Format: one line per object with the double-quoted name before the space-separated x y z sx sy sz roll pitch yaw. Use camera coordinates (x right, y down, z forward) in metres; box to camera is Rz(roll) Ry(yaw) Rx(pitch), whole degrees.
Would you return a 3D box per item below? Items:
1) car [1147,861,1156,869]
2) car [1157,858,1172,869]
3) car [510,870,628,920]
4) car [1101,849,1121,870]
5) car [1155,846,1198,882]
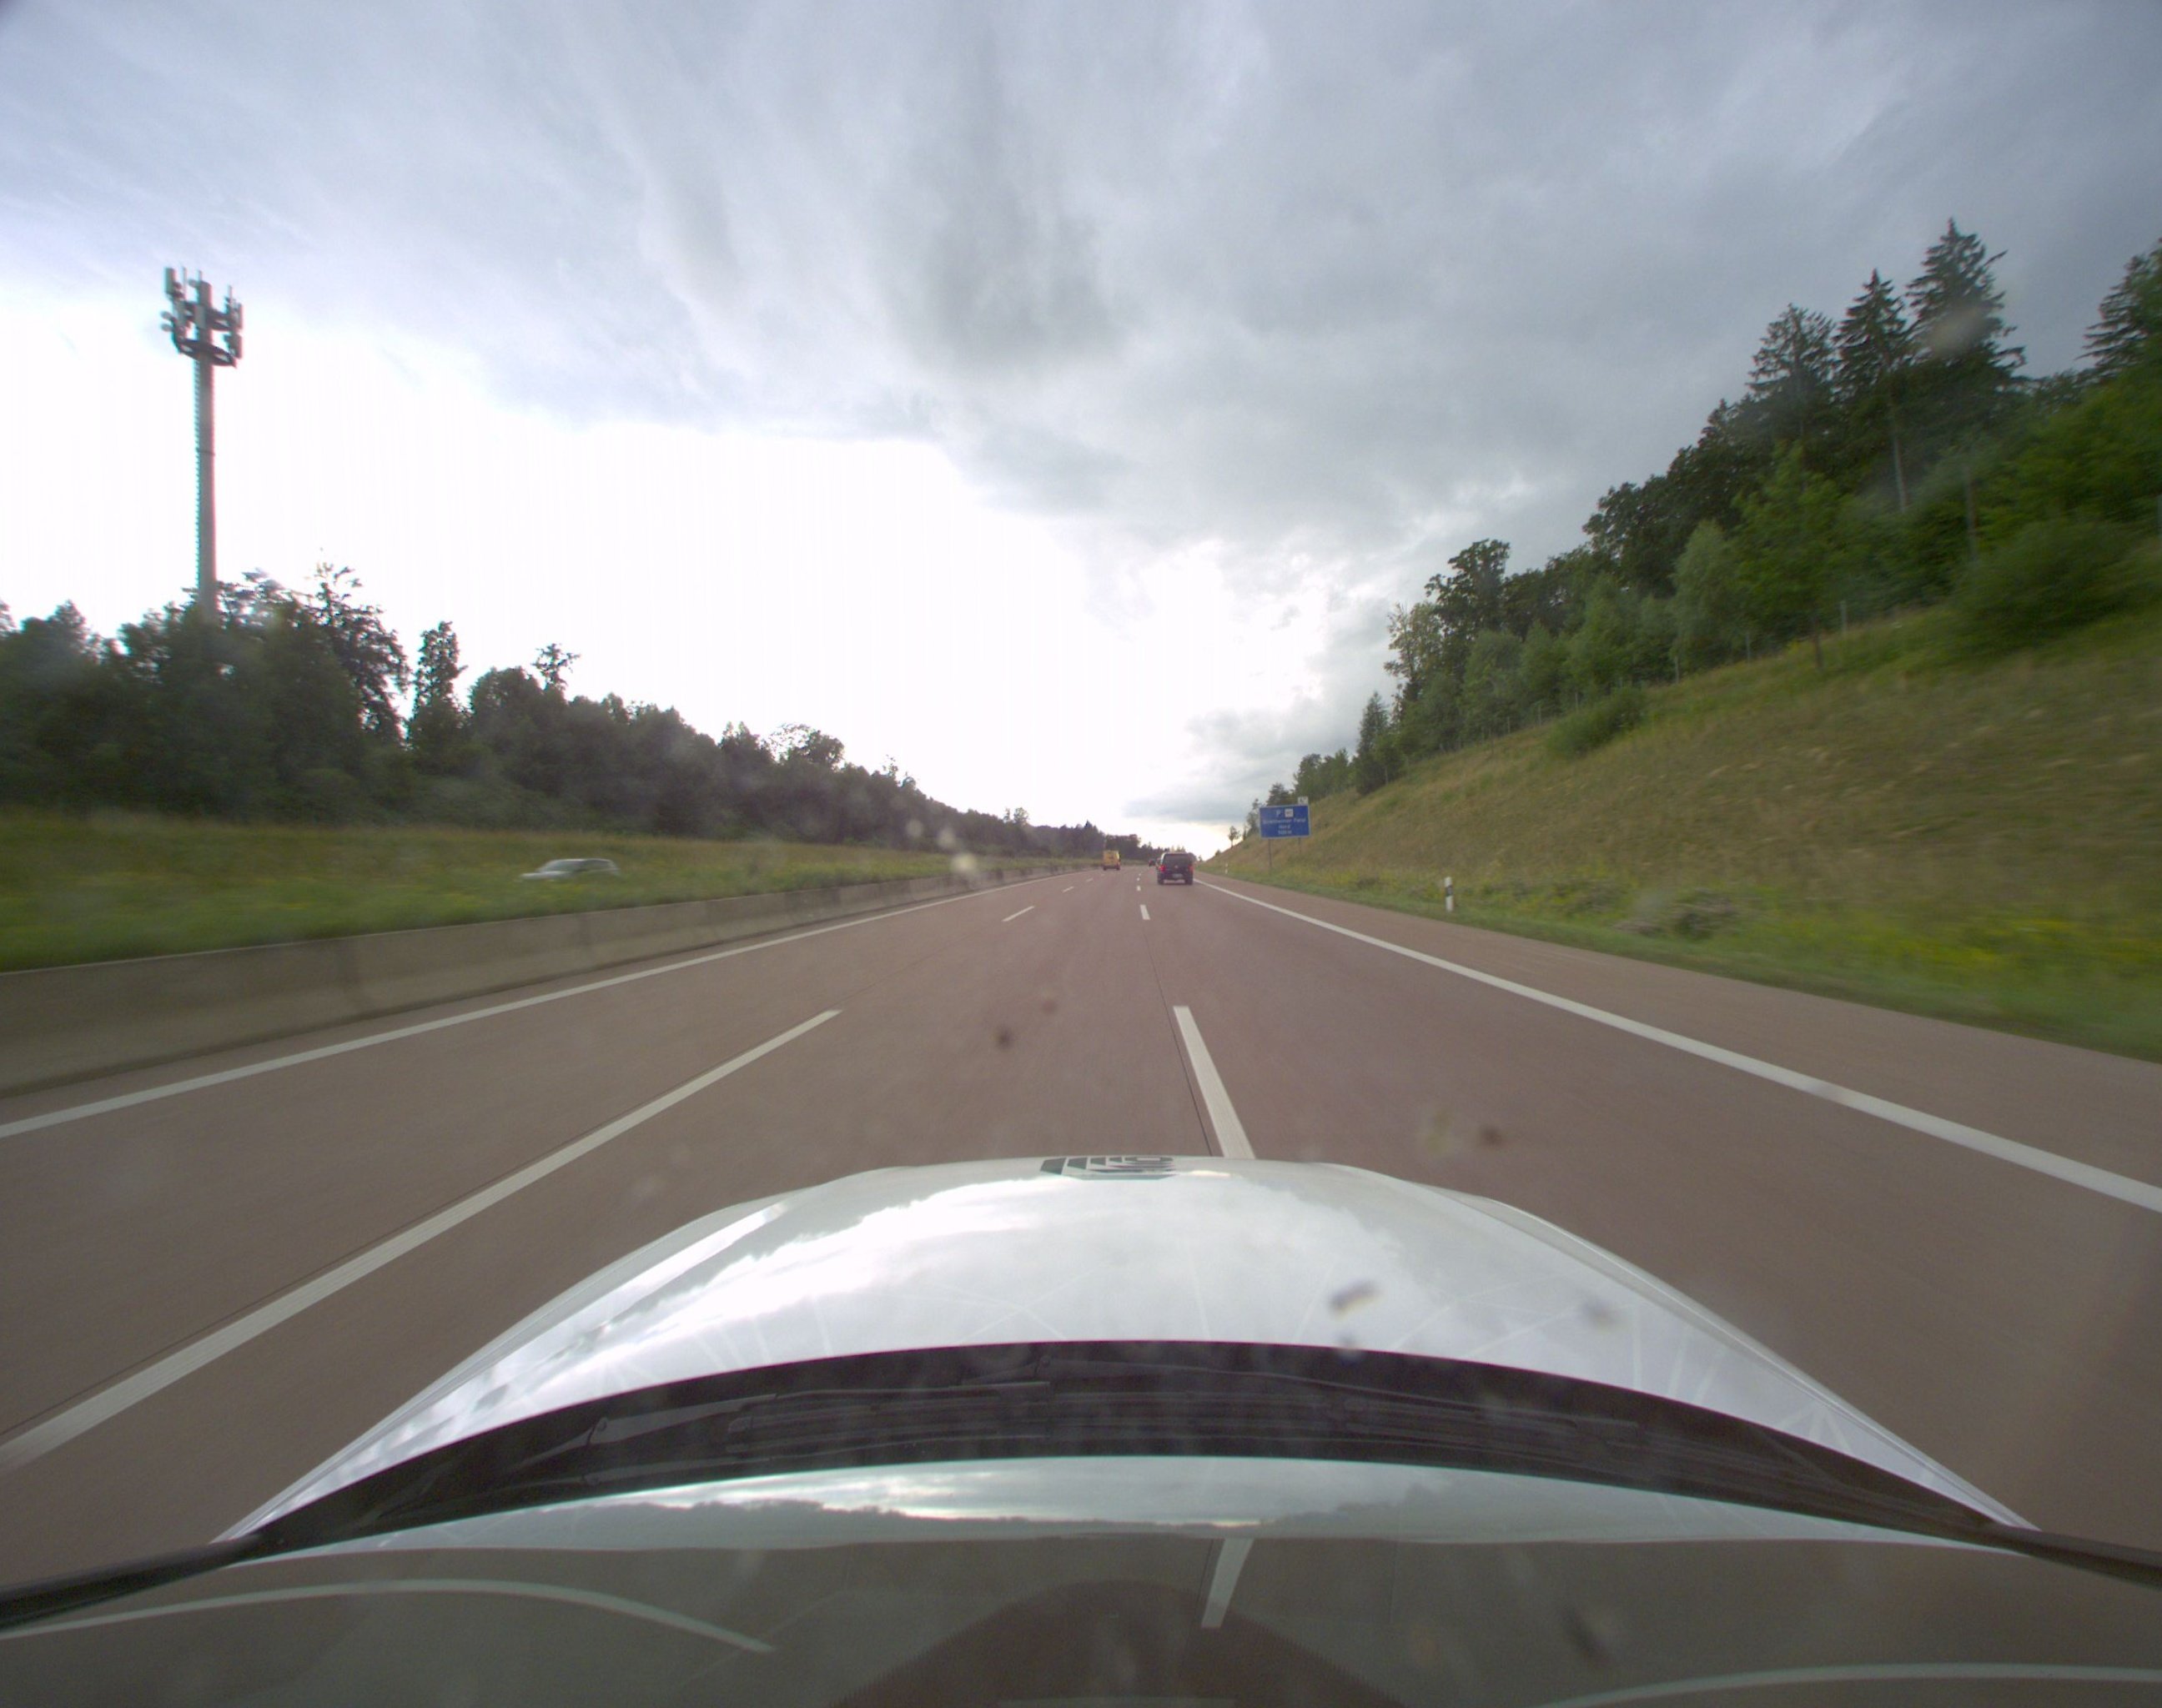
"car" 17.124 2.604 196.876 1.877 1.764 5.007 -2 -1 7
"car" 11.789 1.357 115.400 1.968 1.648 4.625 0 -1 5
"car" -20.047 1.585 32.113 1.824 1.846 4.123 0 -2 3
"car" 4.084 0.729 111.102 2.447 2.706 5.620 -2 -1 4
"car" 5.452 0.630 47.059 2.036 1.897 5.580 -2 -1 3
